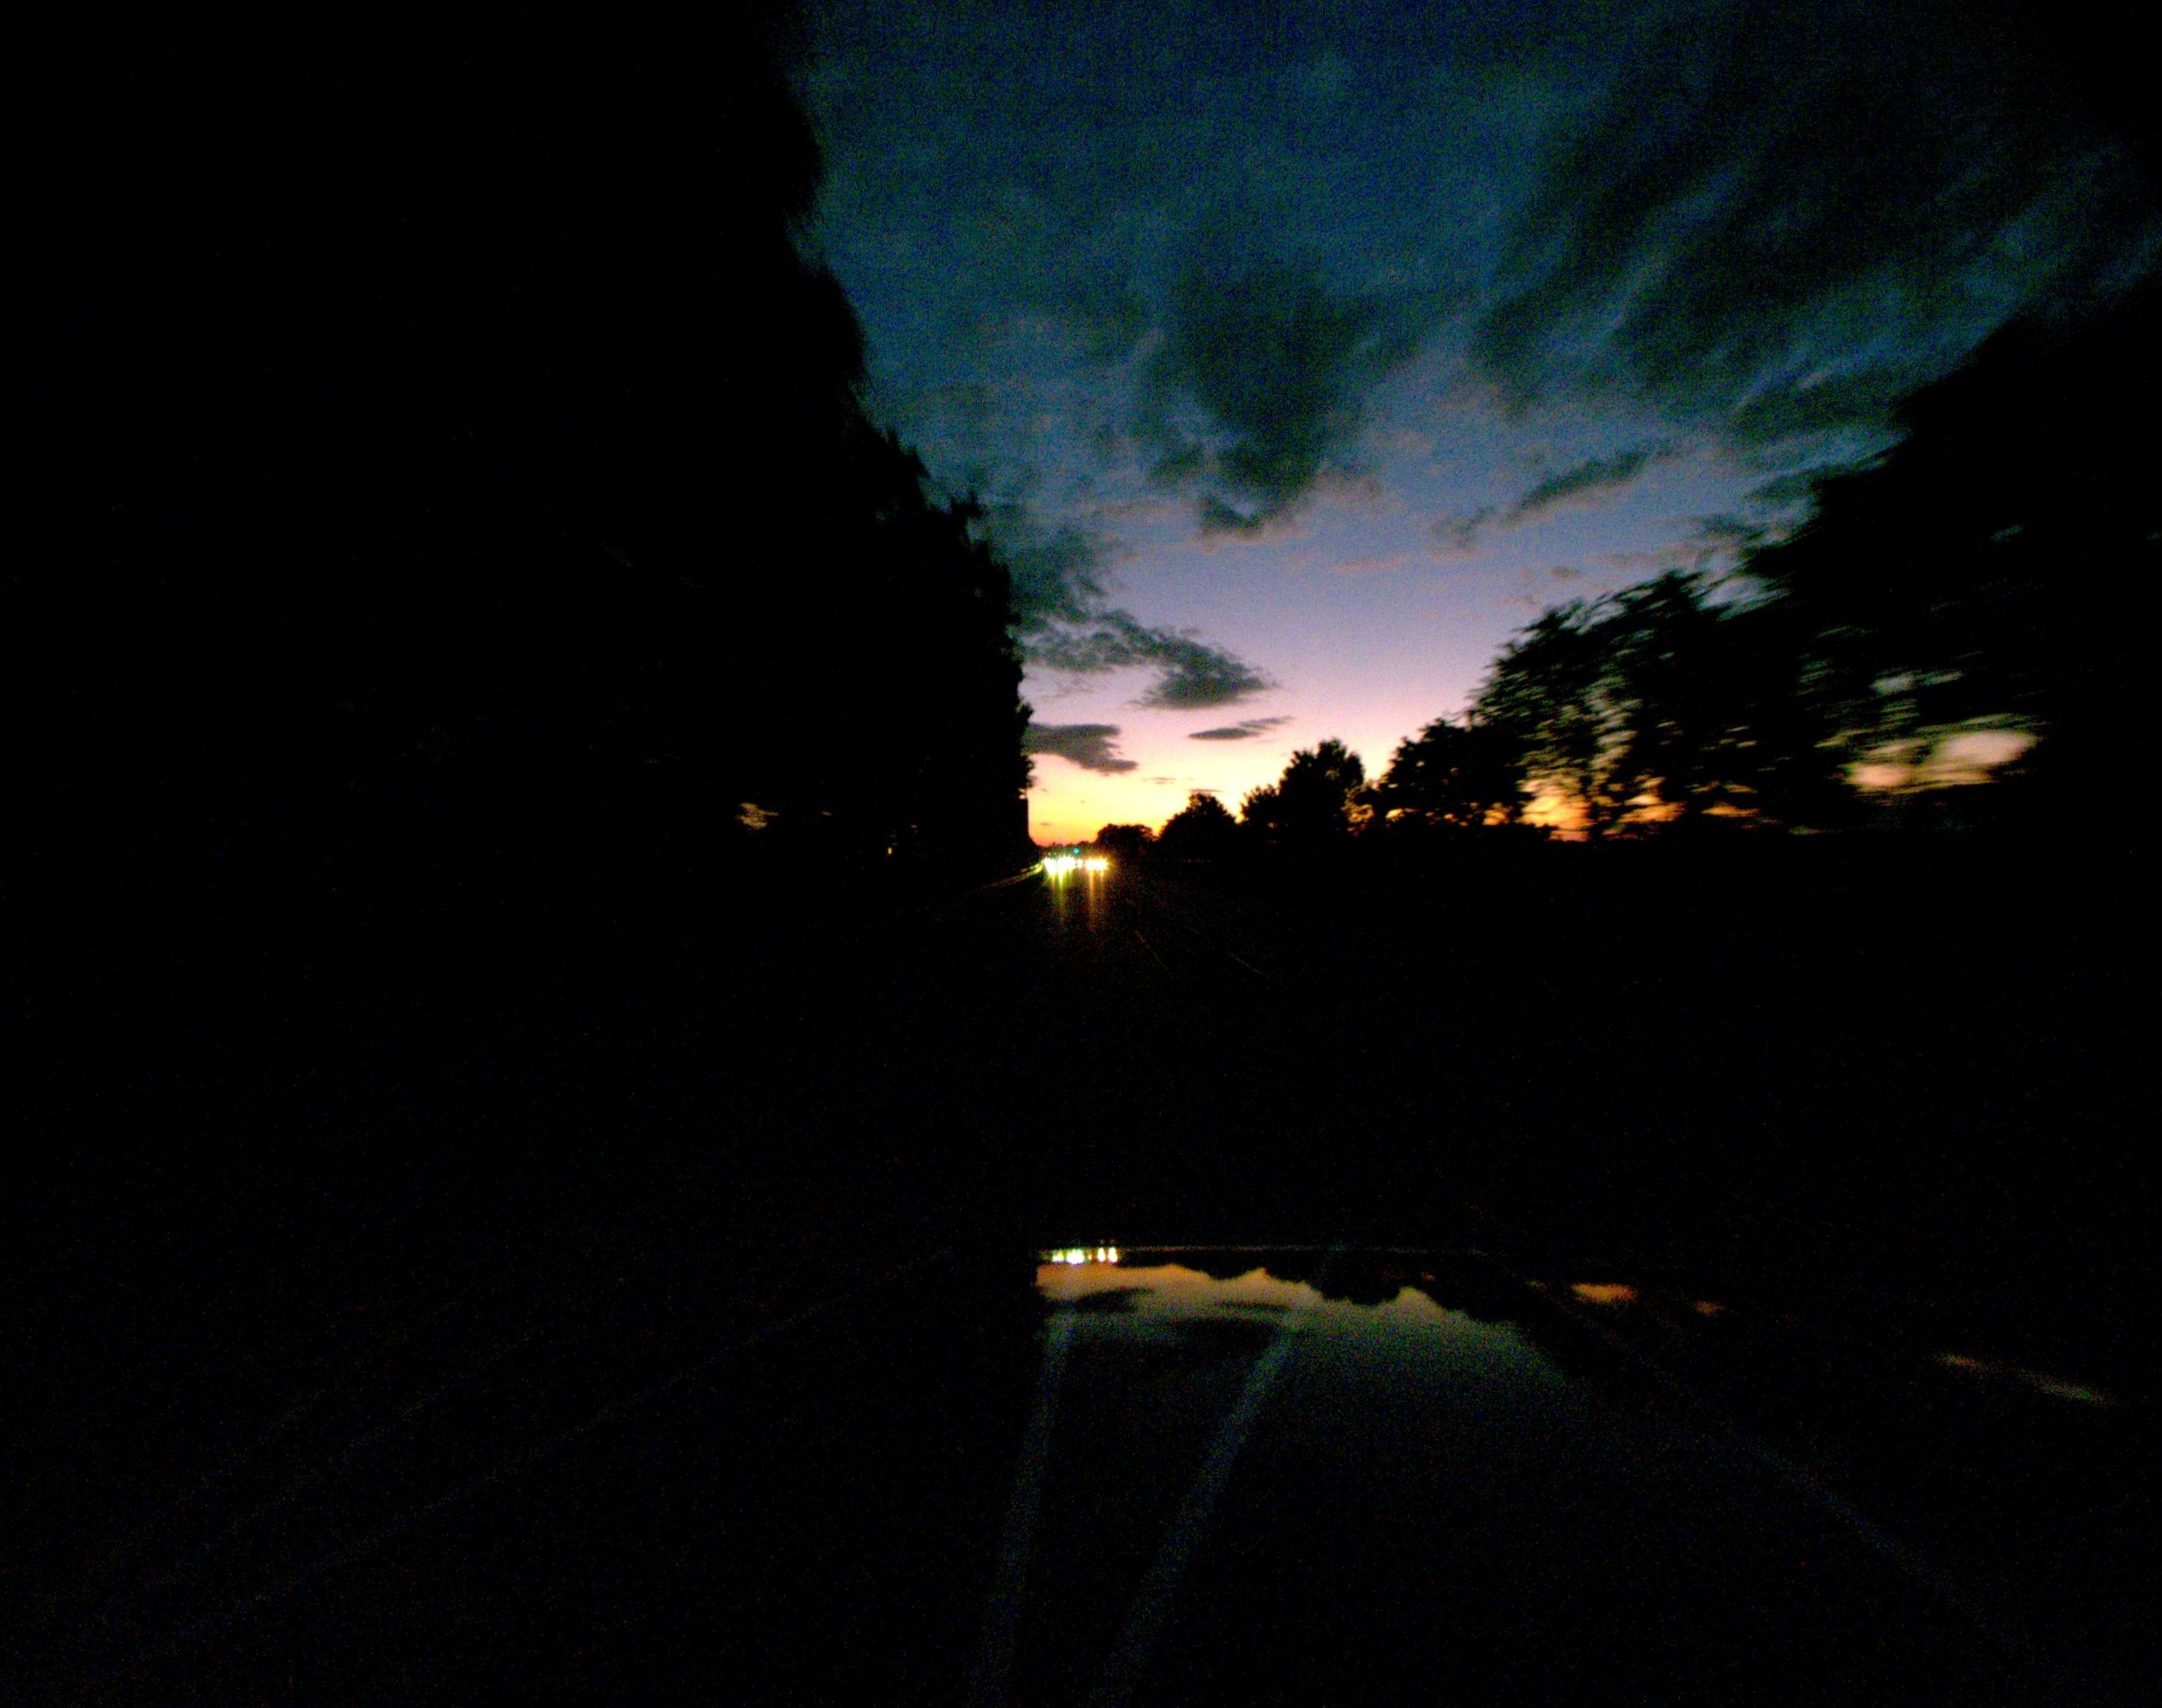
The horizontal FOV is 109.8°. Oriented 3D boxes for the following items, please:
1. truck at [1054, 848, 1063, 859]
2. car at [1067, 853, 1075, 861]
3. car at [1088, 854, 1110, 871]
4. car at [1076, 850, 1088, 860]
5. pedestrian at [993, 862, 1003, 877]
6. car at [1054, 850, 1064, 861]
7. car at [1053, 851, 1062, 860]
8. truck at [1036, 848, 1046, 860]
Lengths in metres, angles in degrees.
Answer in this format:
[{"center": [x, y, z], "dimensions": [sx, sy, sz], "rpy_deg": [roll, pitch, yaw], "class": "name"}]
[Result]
[{"center": [-7.579, -0.064, 259.791], "dimensions": [3.016, 3.674, 9.056], "rpy_deg": [-2, 0, -1], "class": "truck"}, {"center": [-2.621, 0.837, 202.249], "dimensions": [1.999, 2.002, 3.999], "rpy_deg": [-2, 0, -1], "class": "car"}, {"center": [1.877, 0.846, 80.485], "dimensions": [1.999, 1.635, 4.296], "rpy_deg": [-2, 0, -1], "class": "car"}, {"center": [0.106, 0.239, 143.510], "dimensions": [1.999, 1.778, 3.999], "rpy_deg": [-2, 0, -2], "class": "car"}, {"center": [-10.026, 1.863, 91.682], "dimensions": [1.065, 1.633, 1.118], "rpy_deg": [-2, 1, -2], "class": "pedestrian"}, {"center": [-4.040, 0.250, 137.316], "dimensions": [1.741, 2.002, 3.999], "rpy_deg": [-2, 0, -2], "class": "car"}, {"center": [-5.590, 0.356, 180.731], "dimensions": [1.999, 2.002, 3.999], "rpy_deg": [-2, 0, -1], "class": "car"}, {"center": [-12.266, -0.014, 233.132], "dimensions": [2.491, 3.778, 5.497], "rpy_deg": [-2, 1, -1], "class": "truck"}]
